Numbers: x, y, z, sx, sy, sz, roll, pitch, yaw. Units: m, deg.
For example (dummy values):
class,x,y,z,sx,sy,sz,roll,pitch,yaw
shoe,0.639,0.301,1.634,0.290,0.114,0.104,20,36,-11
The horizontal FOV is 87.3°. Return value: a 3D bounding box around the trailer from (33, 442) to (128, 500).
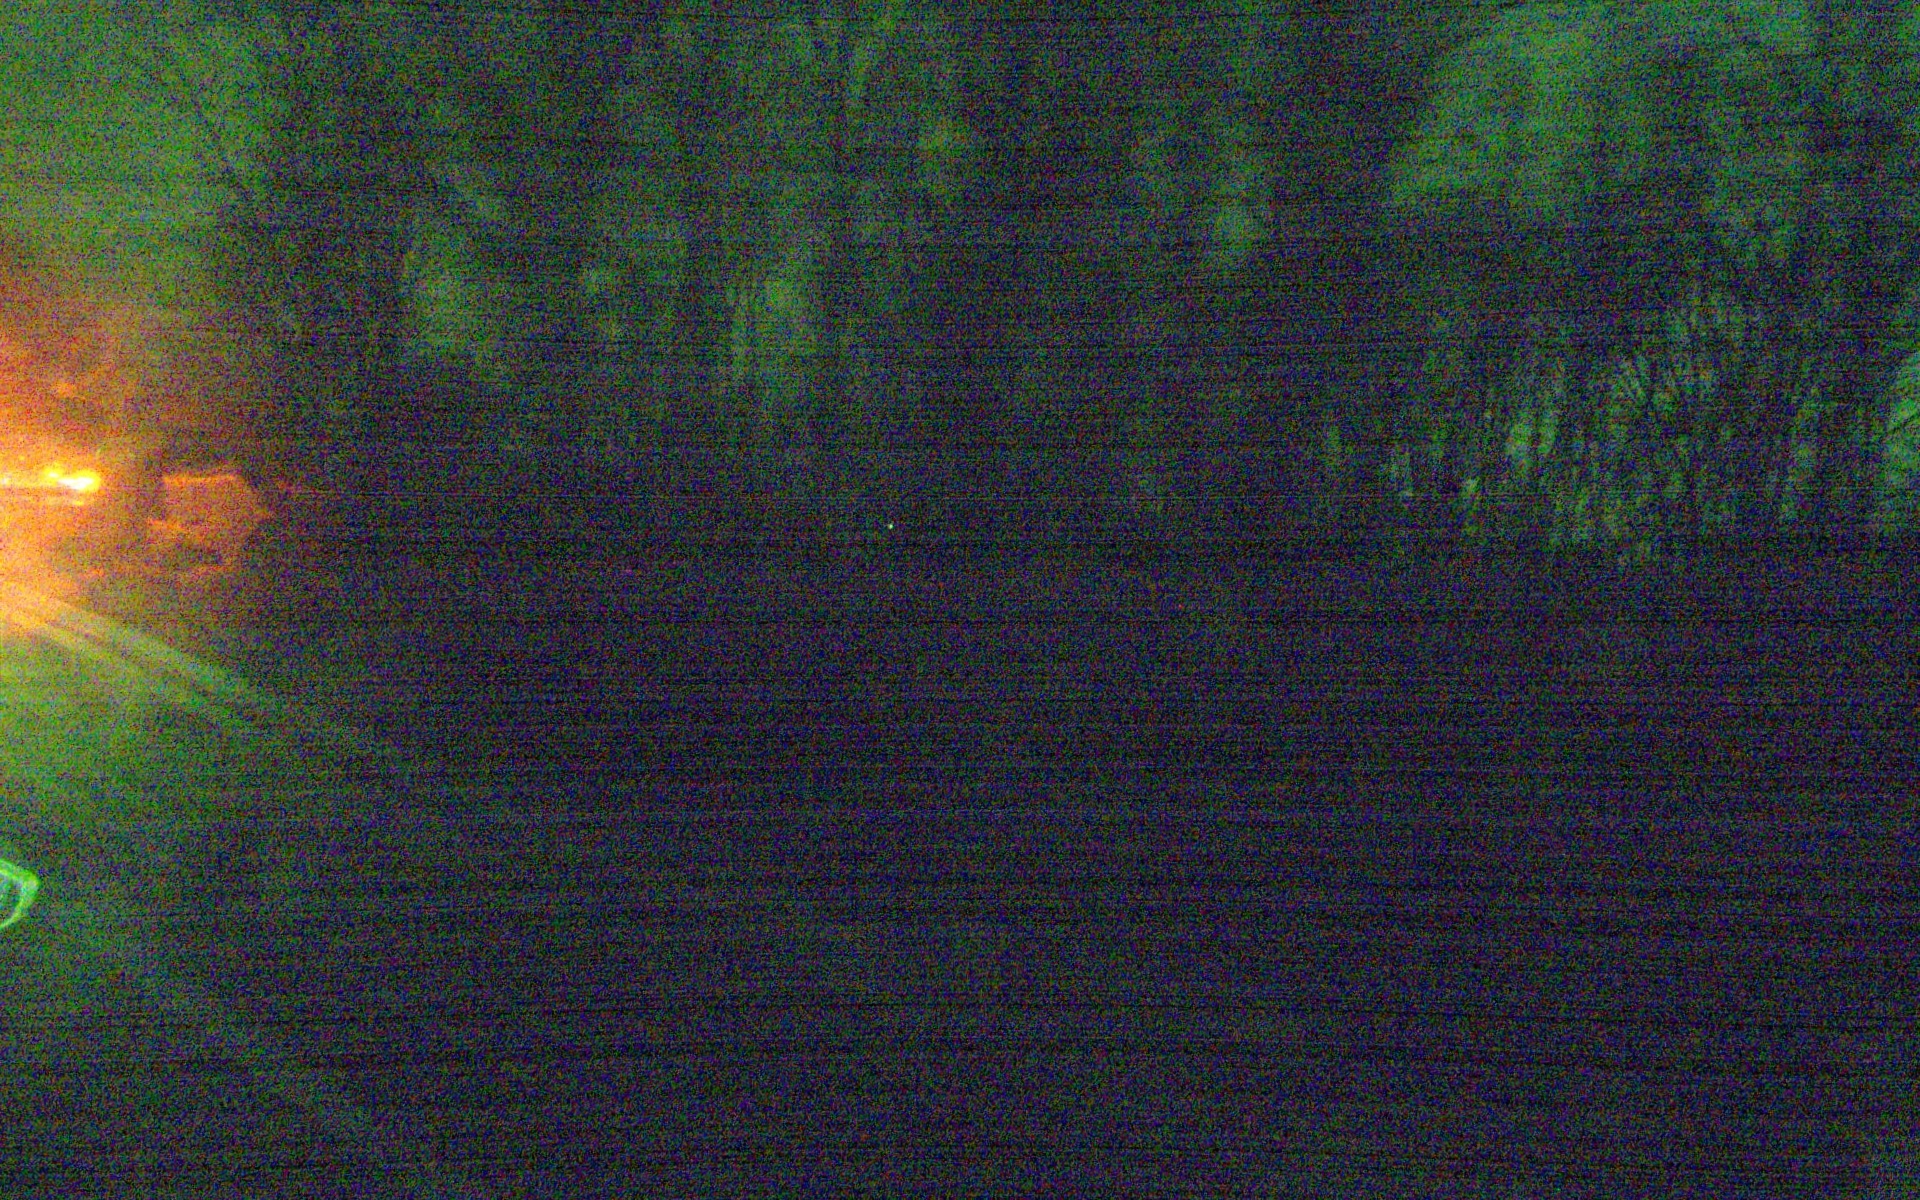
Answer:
class,x,y,z,sx,sy,sz,roll,pitch,yaw
trailer,-44.091,-6.363,50.690,2.063,2.039,10.553,4,1,-33
